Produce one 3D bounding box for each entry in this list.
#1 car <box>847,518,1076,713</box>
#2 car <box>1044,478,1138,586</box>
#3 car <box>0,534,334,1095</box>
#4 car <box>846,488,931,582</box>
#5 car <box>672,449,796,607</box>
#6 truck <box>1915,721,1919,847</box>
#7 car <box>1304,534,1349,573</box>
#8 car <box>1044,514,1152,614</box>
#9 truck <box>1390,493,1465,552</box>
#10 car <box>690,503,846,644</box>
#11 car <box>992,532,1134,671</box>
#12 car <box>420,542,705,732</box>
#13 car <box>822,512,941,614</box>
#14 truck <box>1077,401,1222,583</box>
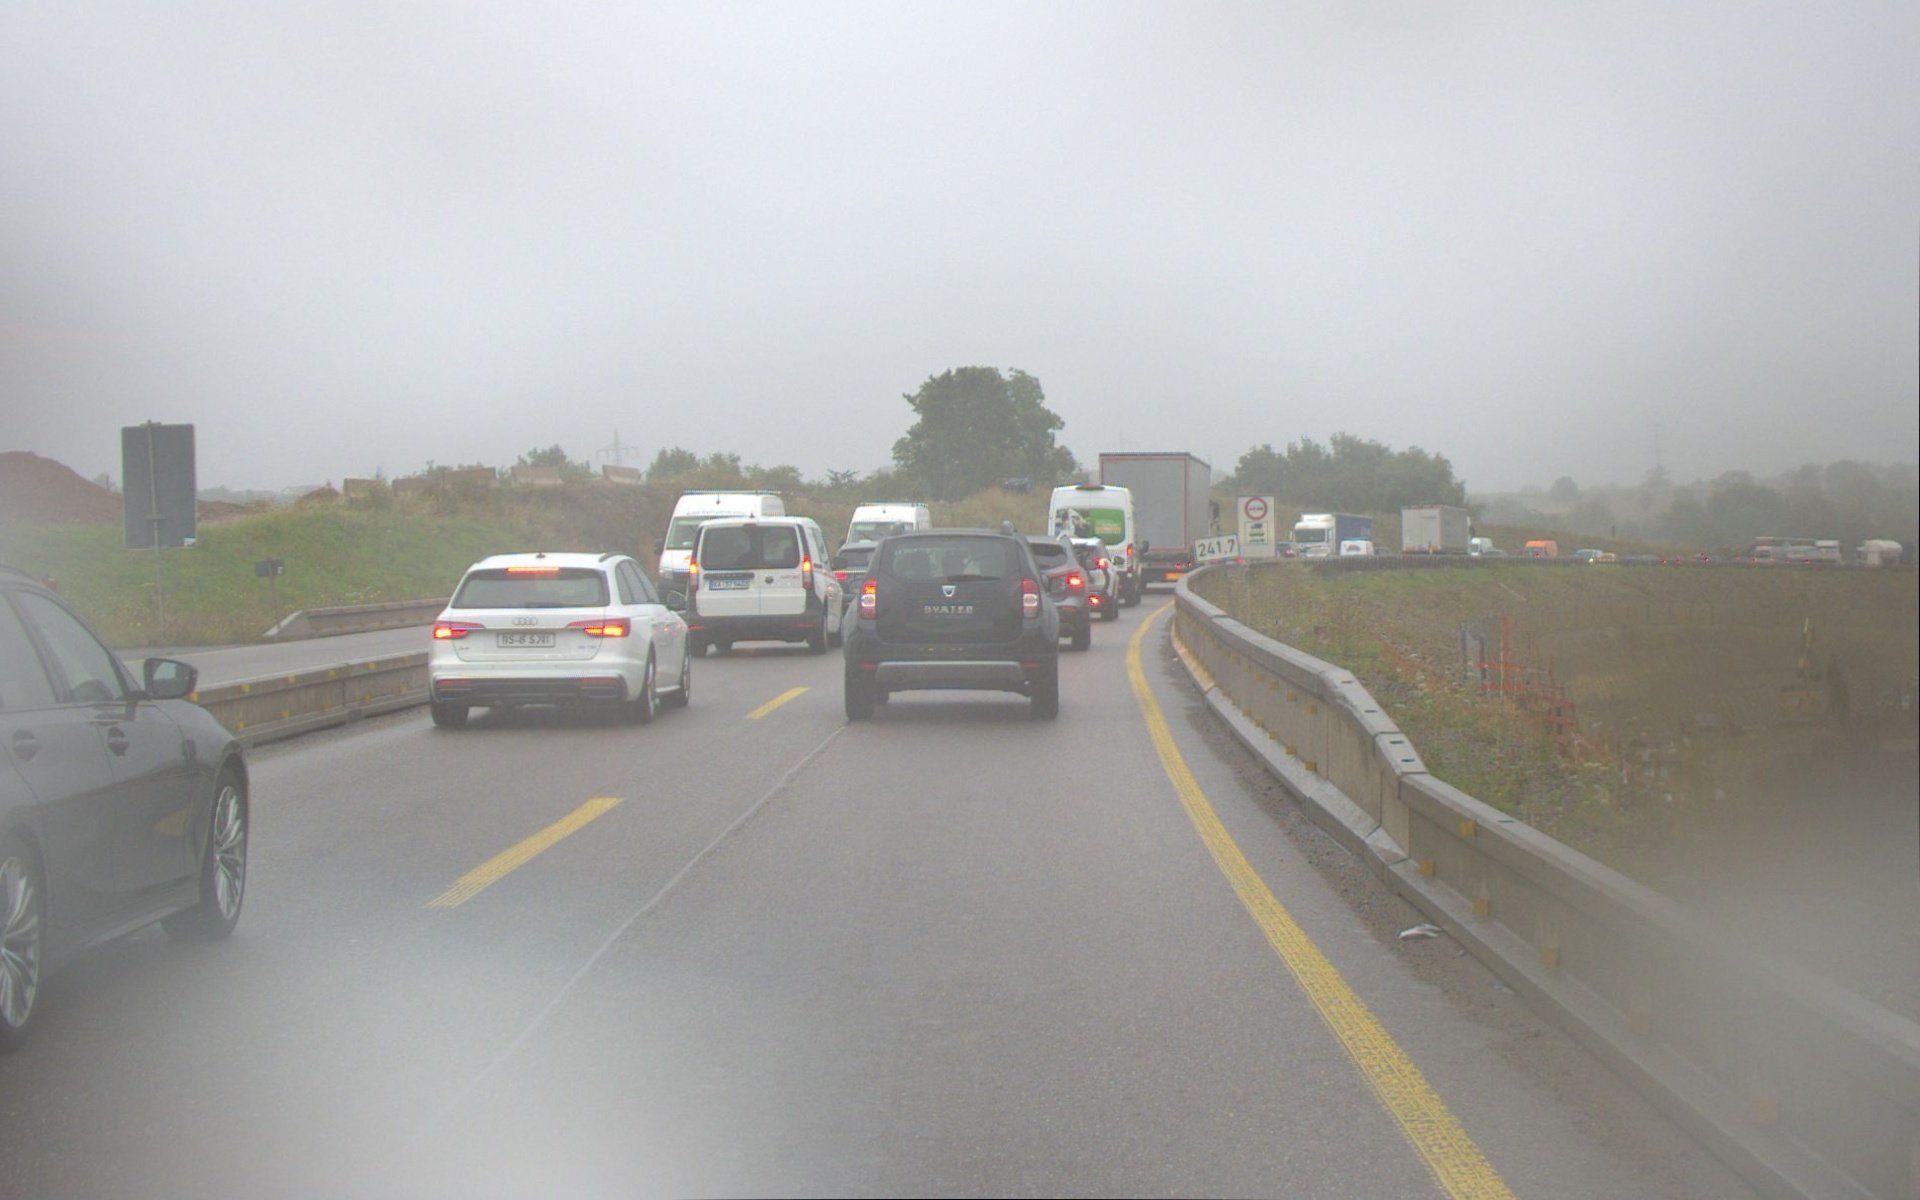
[{"bbox_3d":[0.080,0.118,30.278,1.826,1.585,4.000,0,0,3],"label":"car"},{"bbox_3d":[3.066,-1.542,79.868,1.827,2.429,4.157,0,0,7],"label":"car"},{"bbox_3d":[-3.537,0.572,11.684,1.735,1.457,5.630,0,2,1],"label":"car"},{"bbox_3d":[-1.977,-1.839,96.560,2.024,2.540,5.958,-1,1,2],"label":"car"},{"bbox_3d":[-4.457,-1.439,68.580,1.993,3.003,5.780,0,1,1],"label":"car"},{"bbox_3d":[27.788,5.212,93.041,2.731,3.479,9.061,0,0,9],"label":"truck"},{"bbox_3d":[21.420,-2.723,200.893,2.036,2.248,4.155,0,0,14],"label":"car"},{"bbox_3d":[2.622,-0.671,64.664,1.826,1.809,3.999,0,0,5],"label":"car"},{"bbox_3d":[30.370,-5.014,223.062,3.475,3.702,8.411,-1,1,17],"label":"truck"},{"bbox_3d":[-2.540,-0.348,46.212,1.826,1.809,4.000,0,0,1],"label":"car"},{"bbox_3d":[1.447,0.013,46.956,1.826,1.809,4.000,0,0,3],"label":"car"},{"bbox_3d":[-3.314,0.288,29.355,1.826,1.494,4.000,0,0,2],"label":"car"},{"bbox_3d":[-1.411,-0.673,63.339,1.826,1.809,3.999,0,0,4],"label":"car"},{"bbox_3d":[5.716,-3.066,101.676,3.544,5.060,10.438,0,0,7],"label":"truck"}]
